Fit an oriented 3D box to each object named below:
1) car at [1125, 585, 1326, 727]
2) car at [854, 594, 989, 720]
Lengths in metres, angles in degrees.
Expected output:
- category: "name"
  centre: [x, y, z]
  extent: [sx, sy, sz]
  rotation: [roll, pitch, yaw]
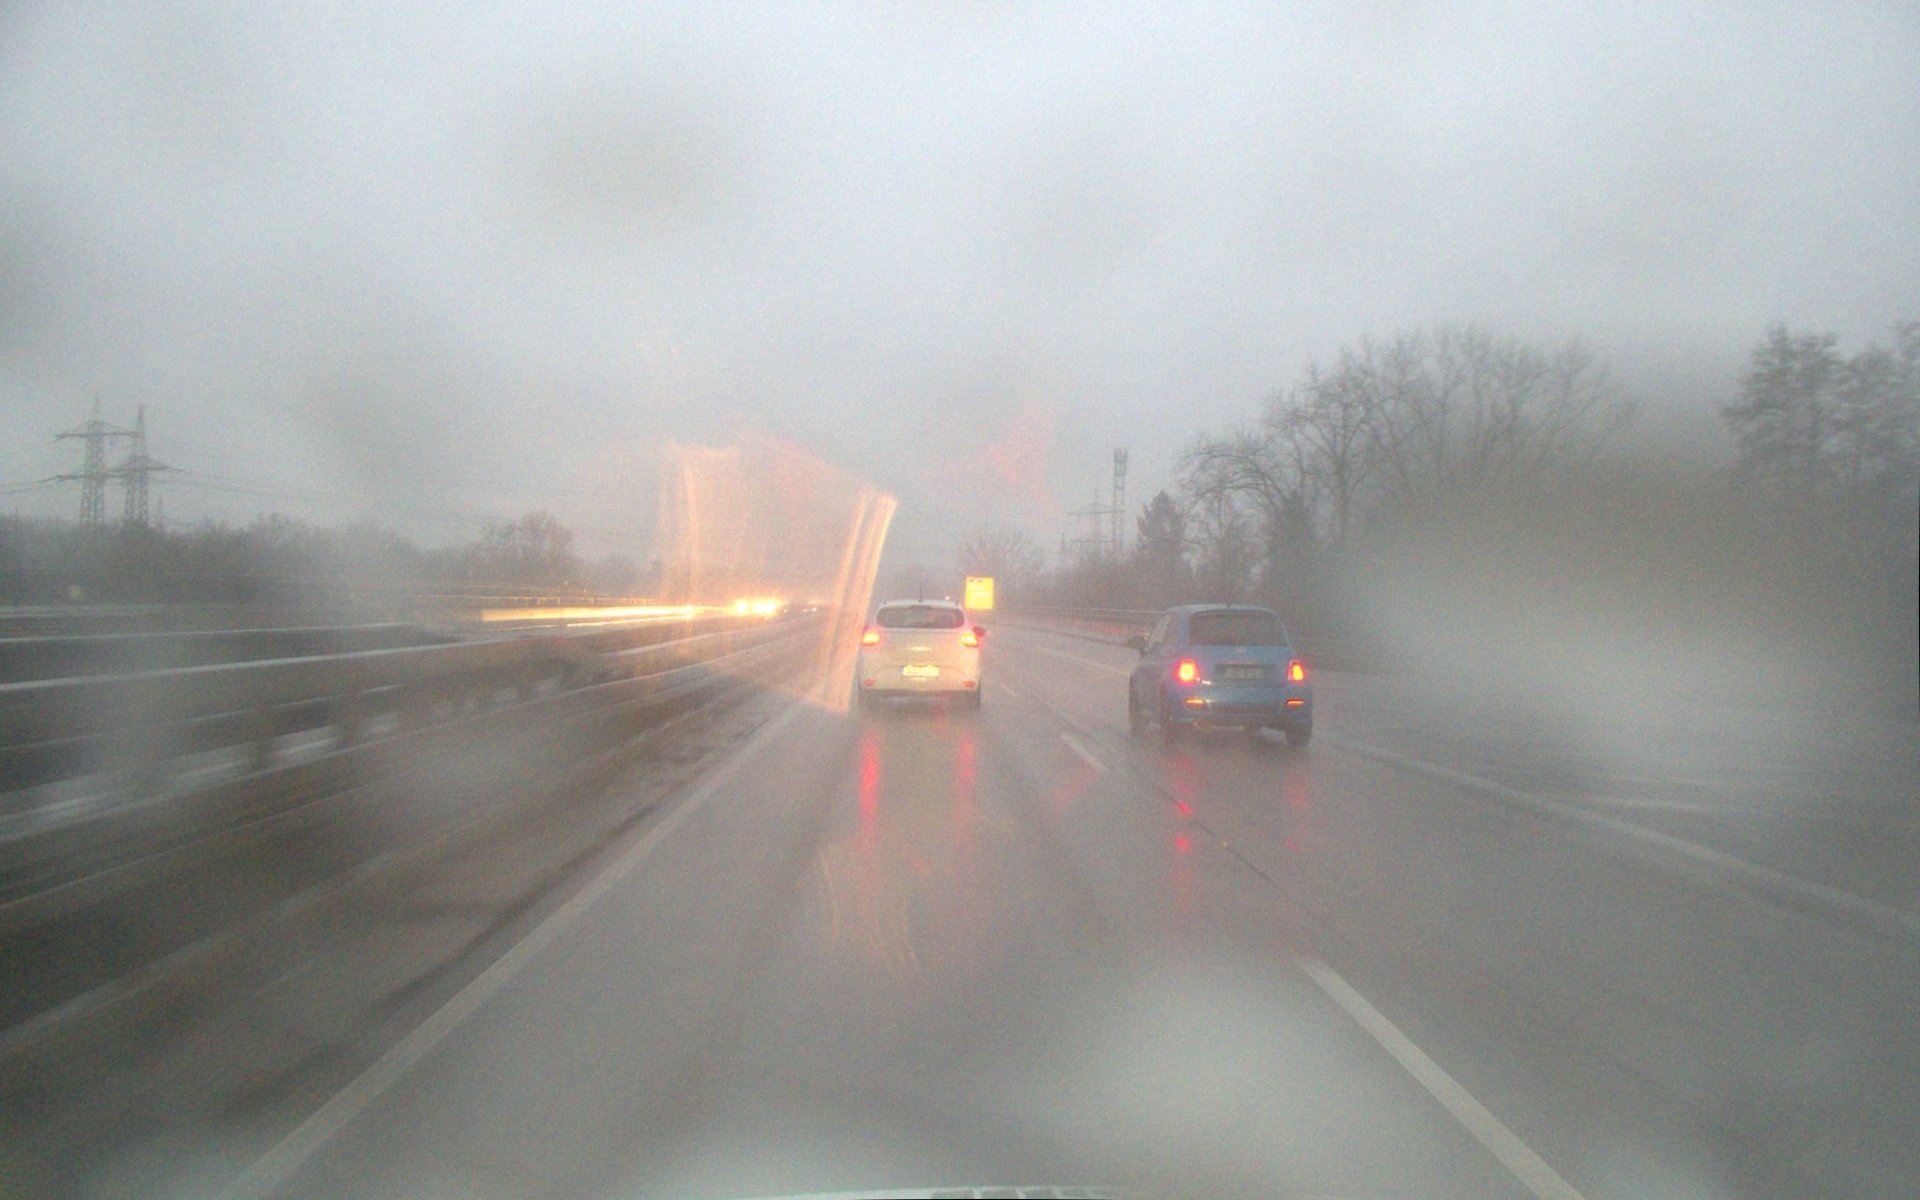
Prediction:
- category: "car"
  centre: [3.035, 0.583, 19.707]
  extent: [1.807, 1.479, 4.149]
  rotation: [1, 1, 1]
- category: "car"
  centre: [-0.595, 0.769, 24.394]
  extent: [1.808, 1.664, 3.766]
  rotation: [-1, 1, -2]
